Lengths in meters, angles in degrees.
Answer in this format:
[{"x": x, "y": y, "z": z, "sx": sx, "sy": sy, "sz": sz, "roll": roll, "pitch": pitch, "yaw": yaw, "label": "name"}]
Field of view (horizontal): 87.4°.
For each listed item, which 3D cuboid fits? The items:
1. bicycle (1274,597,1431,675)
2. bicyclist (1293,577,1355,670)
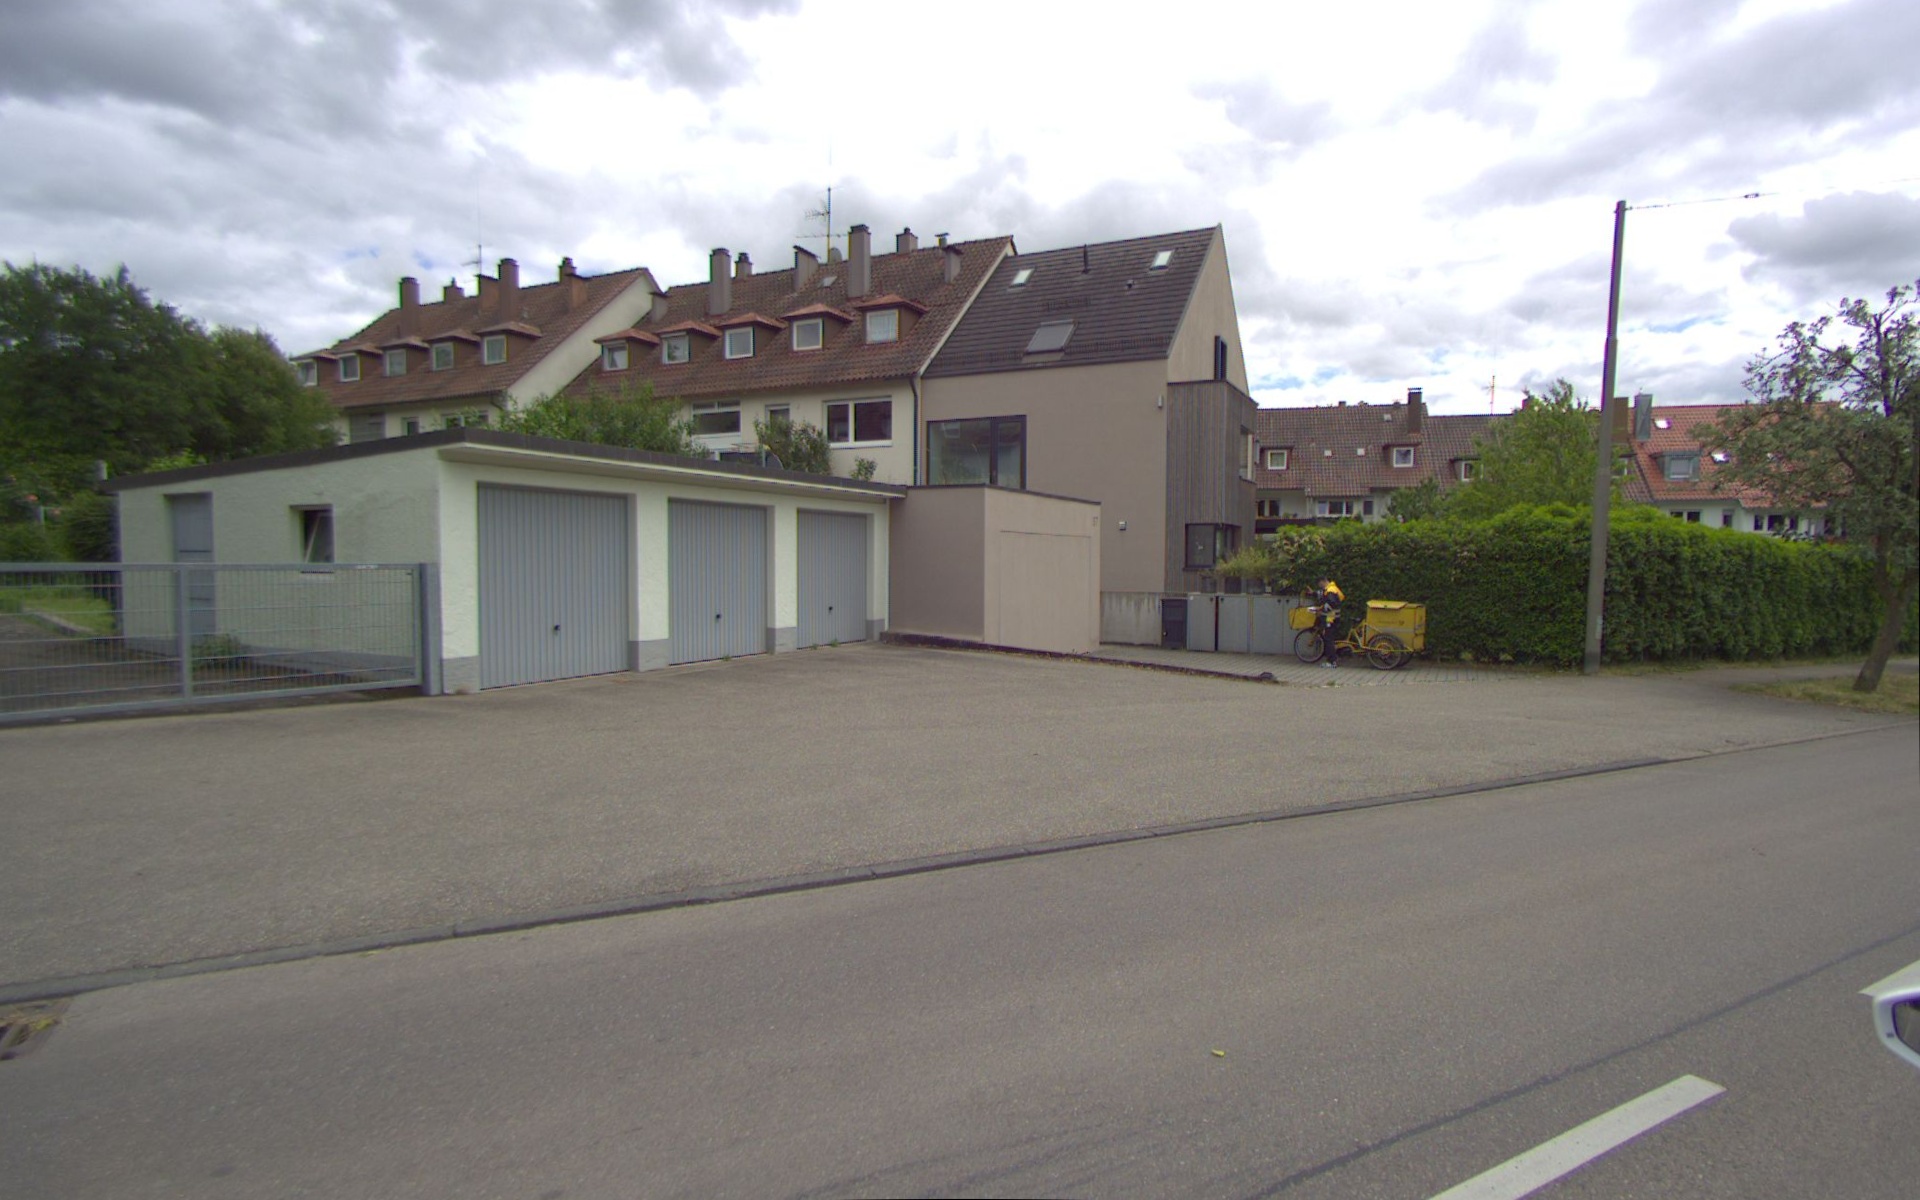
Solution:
[{"x": 7.437, "y": 0.645, "z": 19.140, "sx": 2.612, "sy": 1.283, "sz": 0.843, "roll": 3, "pitch": 3, "yaw": 40, "label": "bicycle"}, {"x": 6.952, "y": 0.437, "z": 19.208, "sx": 0.838, "sy": 1.720, "sz": 0.707, "roll": 0, "pitch": 3, "yaw": -33, "label": "bicyclist"}]
